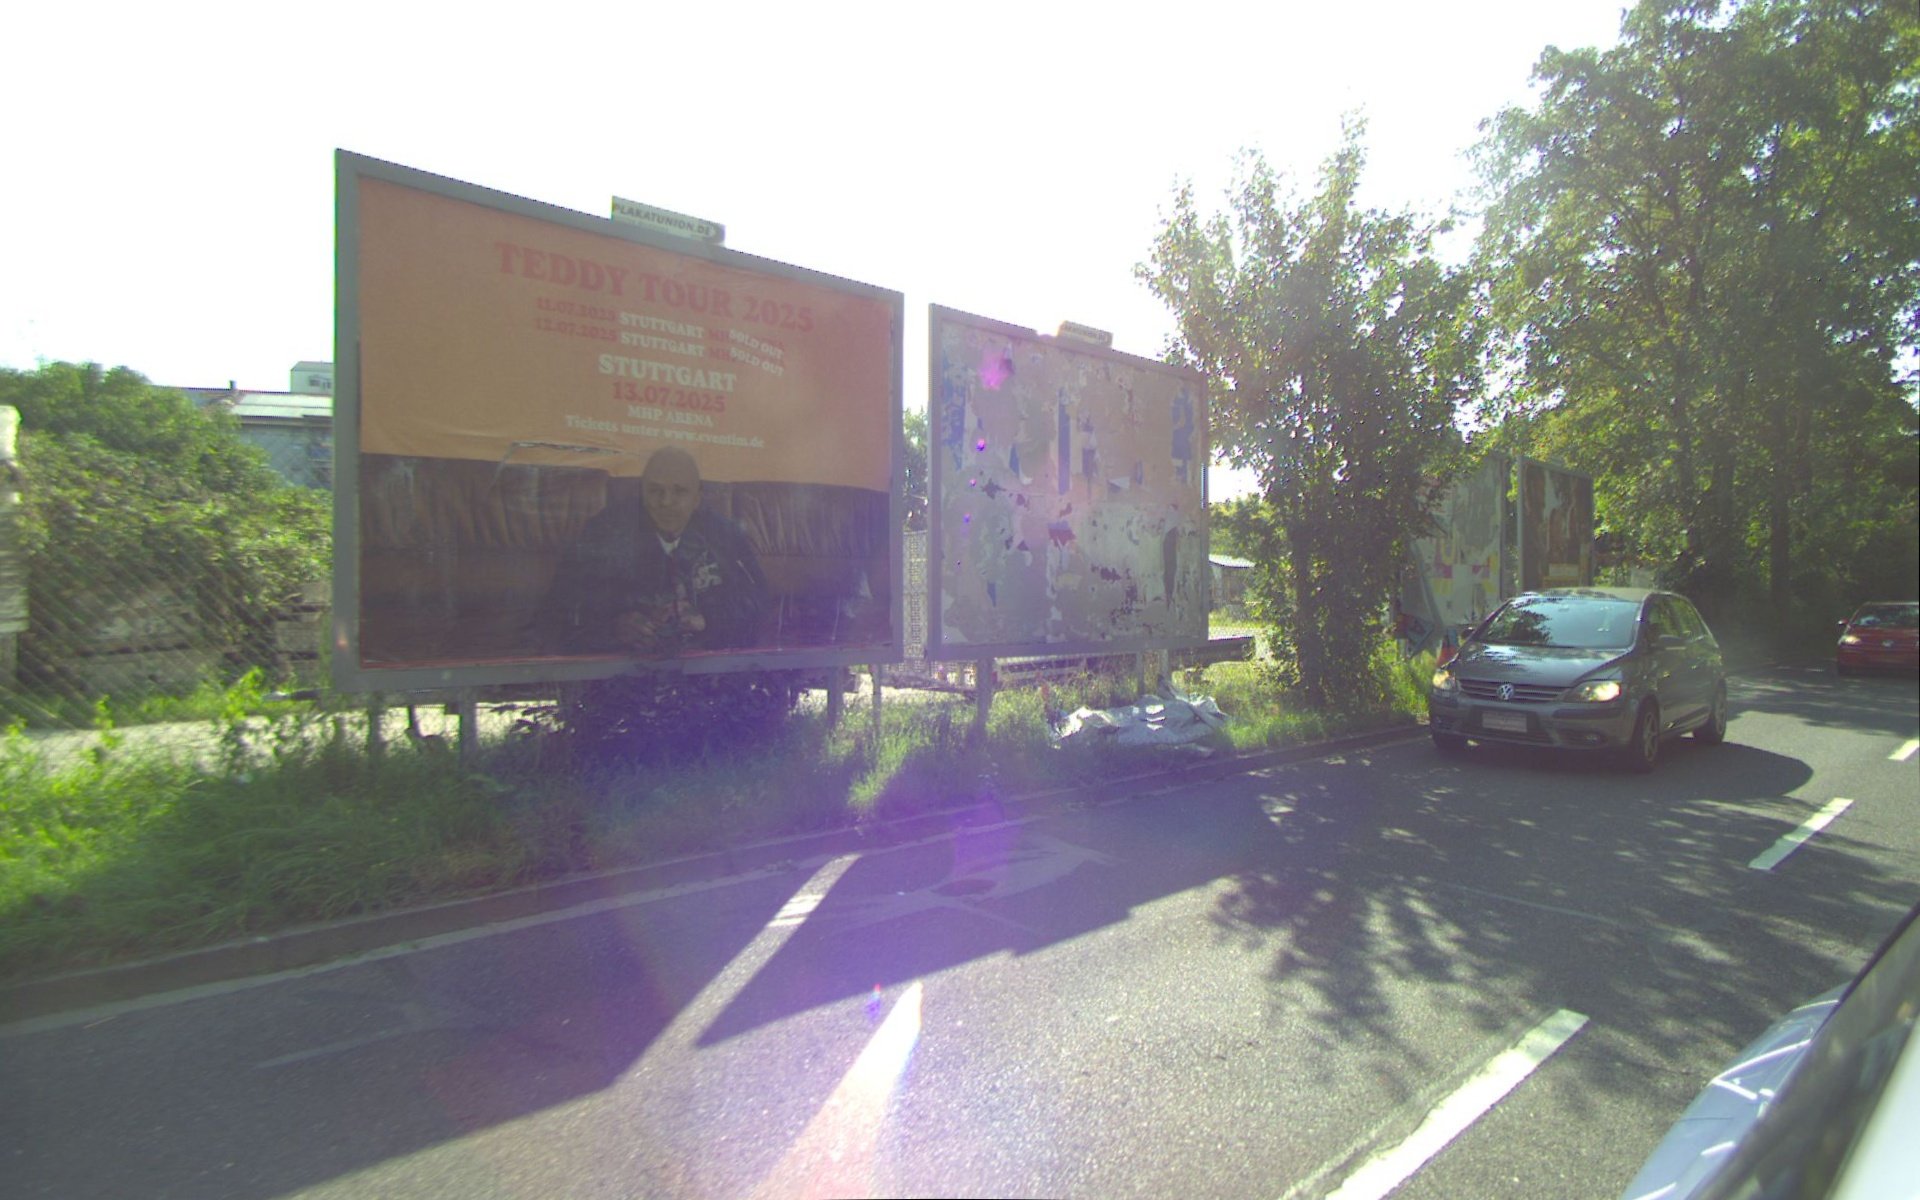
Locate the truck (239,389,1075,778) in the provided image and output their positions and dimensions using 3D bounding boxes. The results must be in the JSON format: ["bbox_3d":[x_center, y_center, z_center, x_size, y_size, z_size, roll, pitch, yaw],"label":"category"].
[{"bbox_3d":[-2.043,-0.125,8.820,6.791,2.261,1.918,-1,0,-40],"label":"truck"}]

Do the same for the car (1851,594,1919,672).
[{"bbox_3d":[19.134,0.608,20.252,3.413,1.416,1.577,-1,2,-42],"label":"car"}]

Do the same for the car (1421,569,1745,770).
[{"bbox_3d":[6.146,0.518,9.814,3.831,1.576,1.648,-1,1,-41],"label":"car"}]
